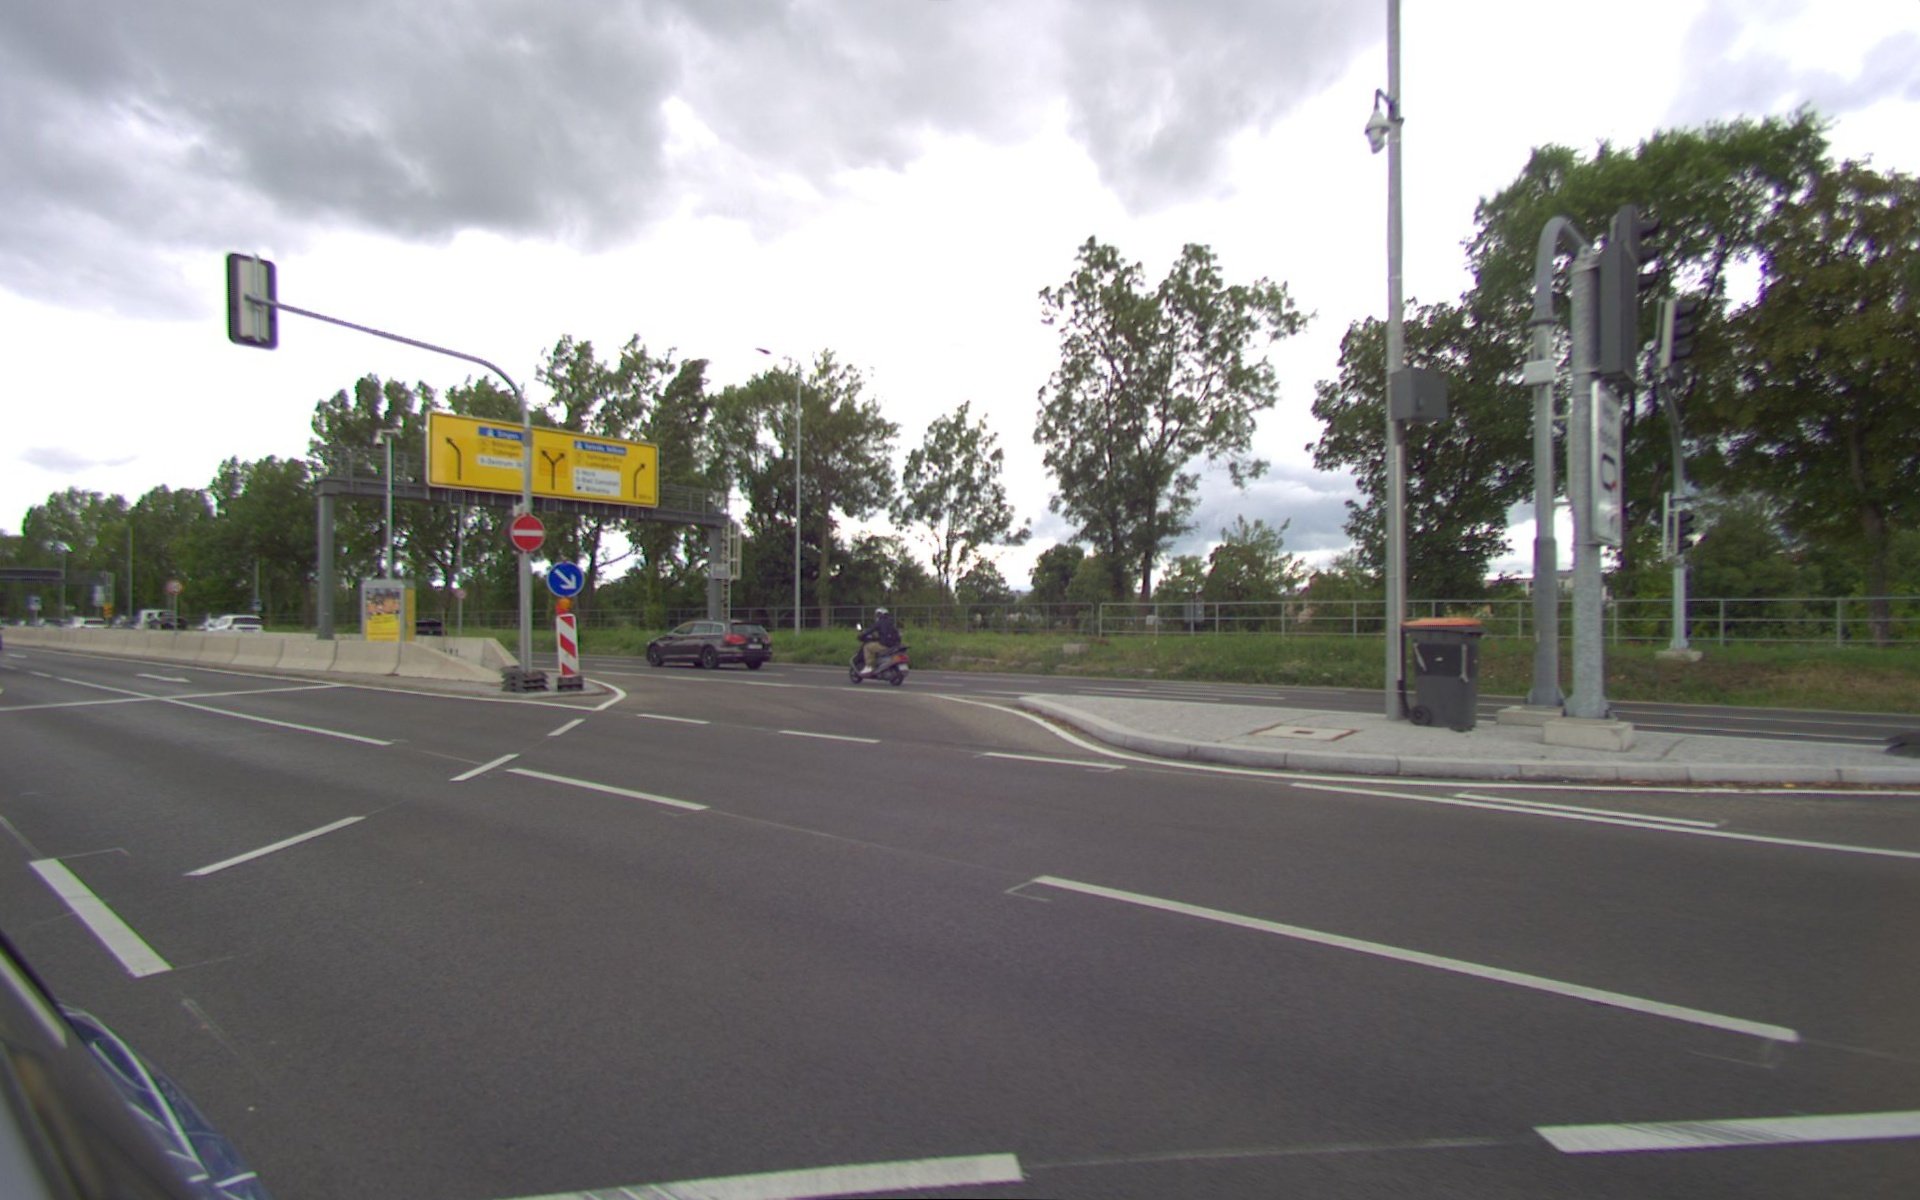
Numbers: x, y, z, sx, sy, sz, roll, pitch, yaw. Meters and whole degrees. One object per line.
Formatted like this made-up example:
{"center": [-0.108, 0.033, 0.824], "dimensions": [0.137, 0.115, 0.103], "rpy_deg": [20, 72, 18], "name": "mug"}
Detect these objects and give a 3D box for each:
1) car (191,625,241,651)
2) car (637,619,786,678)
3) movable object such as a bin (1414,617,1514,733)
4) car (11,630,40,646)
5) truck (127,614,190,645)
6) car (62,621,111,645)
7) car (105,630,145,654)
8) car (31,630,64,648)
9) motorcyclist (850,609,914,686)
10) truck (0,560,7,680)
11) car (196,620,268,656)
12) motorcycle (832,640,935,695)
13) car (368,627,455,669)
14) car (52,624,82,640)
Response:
{"center": [-54.228, 2.765, 73.719], "dimensions": [4.408, 1.697, 1.973], "rpy_deg": [-2, 0, 40], "name": "car"}
{"center": [-7.468, 1.420, 30.210], "dimensions": [4.563, 1.562, 1.974], "rpy_deg": [-2, 0, 40], "name": "car"}
{"center": [4.952, 0.721, 9.948], "dimensions": [0.740, 1.067, 0.535], "rpy_deg": [-2, 0, 41], "name": "movable object such as a bin"}
{"center": [-114.473, 4.668, 124.015], "dimensions": [4.464, 1.752, 1.974], "rpy_deg": [-2, 0, 39], "name": "car"}
{"center": [-56.973, 2.129, 71.878], "dimensions": [6.295, 2.029, 2.183], "rpy_deg": [-2, 0, 39], "name": "truck"}
{"center": [-63.981, 2.427, 74.114], "dimensions": [4.692, 1.681, 1.973], "rpy_deg": [-2, 0, 40], "name": "car"}
{"center": [-76.118, 3.795, 92.265], "dimensions": [4.933, 2.029, 1.973], "rpy_deg": [-2, 0, 41], "name": "car"}
{"center": [-89.947, 3.820, 99.728], "dimensions": [4.123, 1.695, 1.859], "rpy_deg": [-2, 0, 41], "name": "car"}
{"center": [-1.650, 0.969, 21.380], "dimensions": [0.980, 1.533, 0.904], "rpy_deg": [1, 2, 41], "name": "motorcyclist"}
{"center": [-28.927, 0.663, 27.848], "dimensions": [8.379, 3.106, 2.906], "rpy_deg": [-2, 0, 40], "name": "truck"}
{"center": [-37.522, 1.959, 52.151], "dimensions": [4.408, 1.697, 1.973], "rpy_deg": [-2, 0, 40], "name": "car"}
{"center": [-1.641, 1.402, 21.365], "dimensions": [2.162, 0.996, 0.903], "rpy_deg": [0, 2, 41], "name": "motorcycle"}
{"center": [-24.477, 2.102, 45.144], "dimensions": [4.284, 1.669, 1.973], "rpy_deg": [-1, 1, 40], "name": "car"}
{"center": [-97.614, 3.517, 110.661], "dimensions": [4.119, 1.695, 1.859], "rpy_deg": [-2, 0, 41], "name": "car"}
